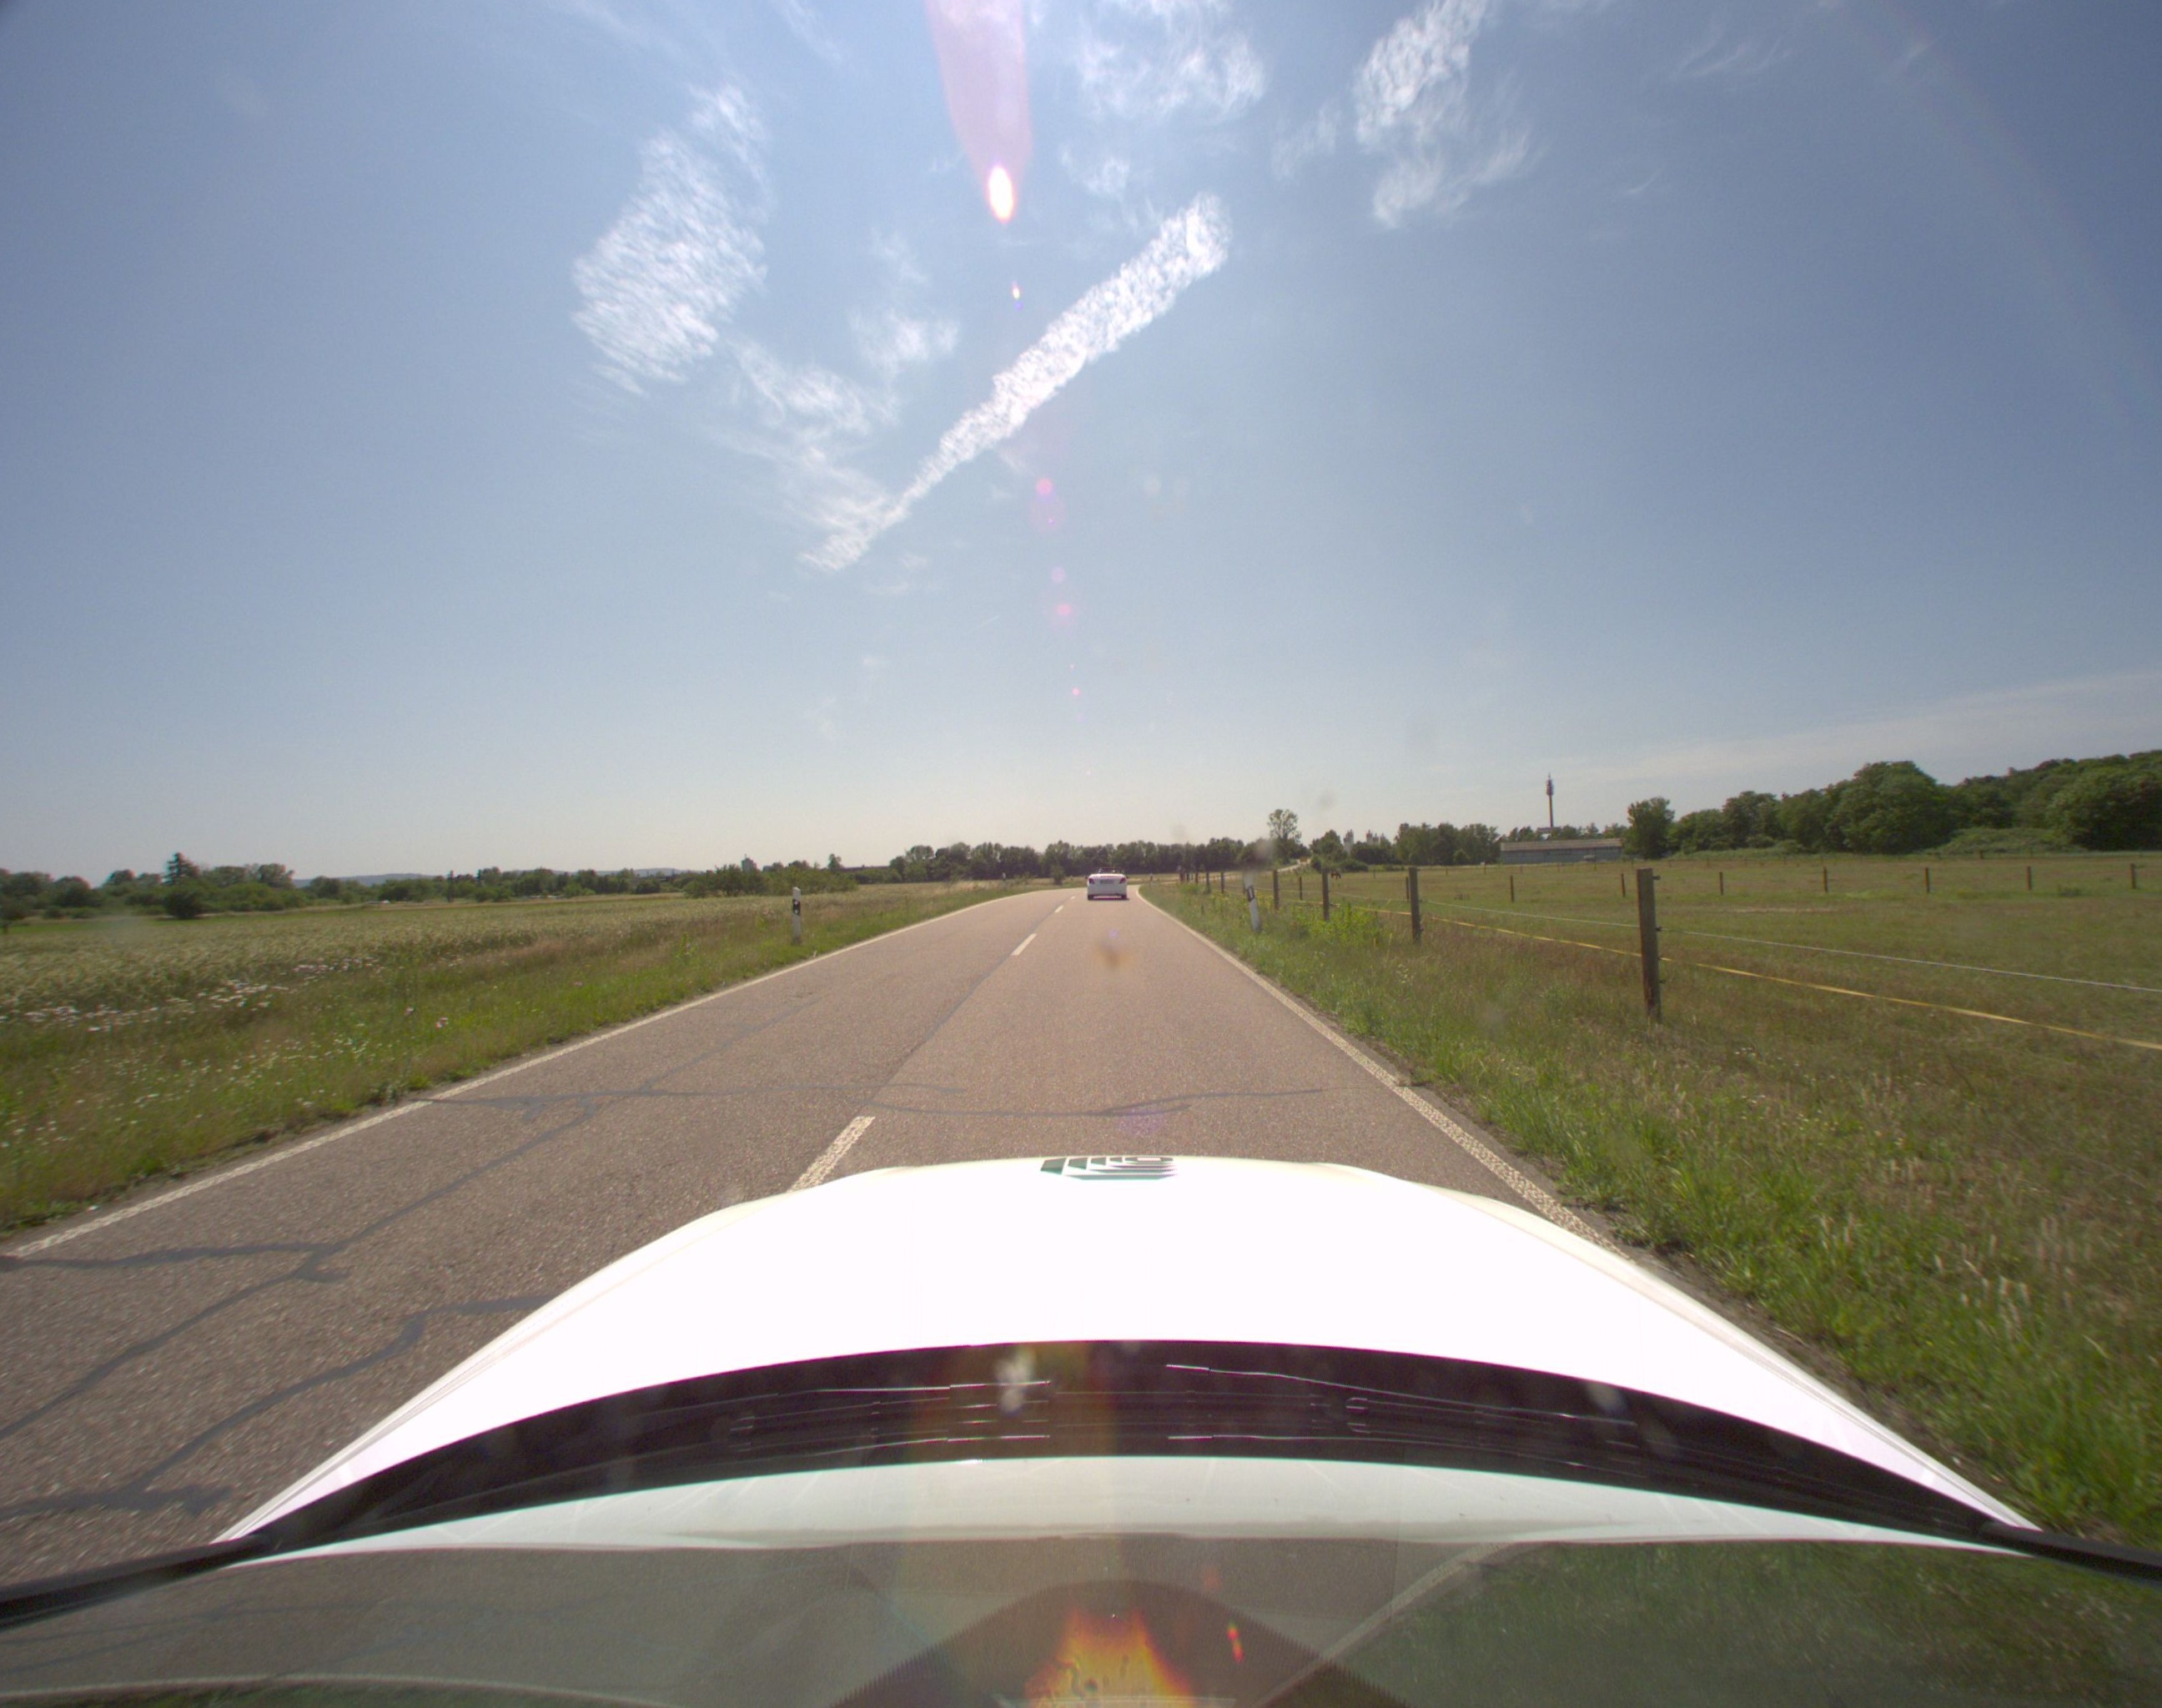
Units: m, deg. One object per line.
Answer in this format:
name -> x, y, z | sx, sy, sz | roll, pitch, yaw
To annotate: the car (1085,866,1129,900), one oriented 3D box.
car -> 1.160, 1.239, 35.915 | 1.844, 1.379, 4.002 | -1, -1, 2
